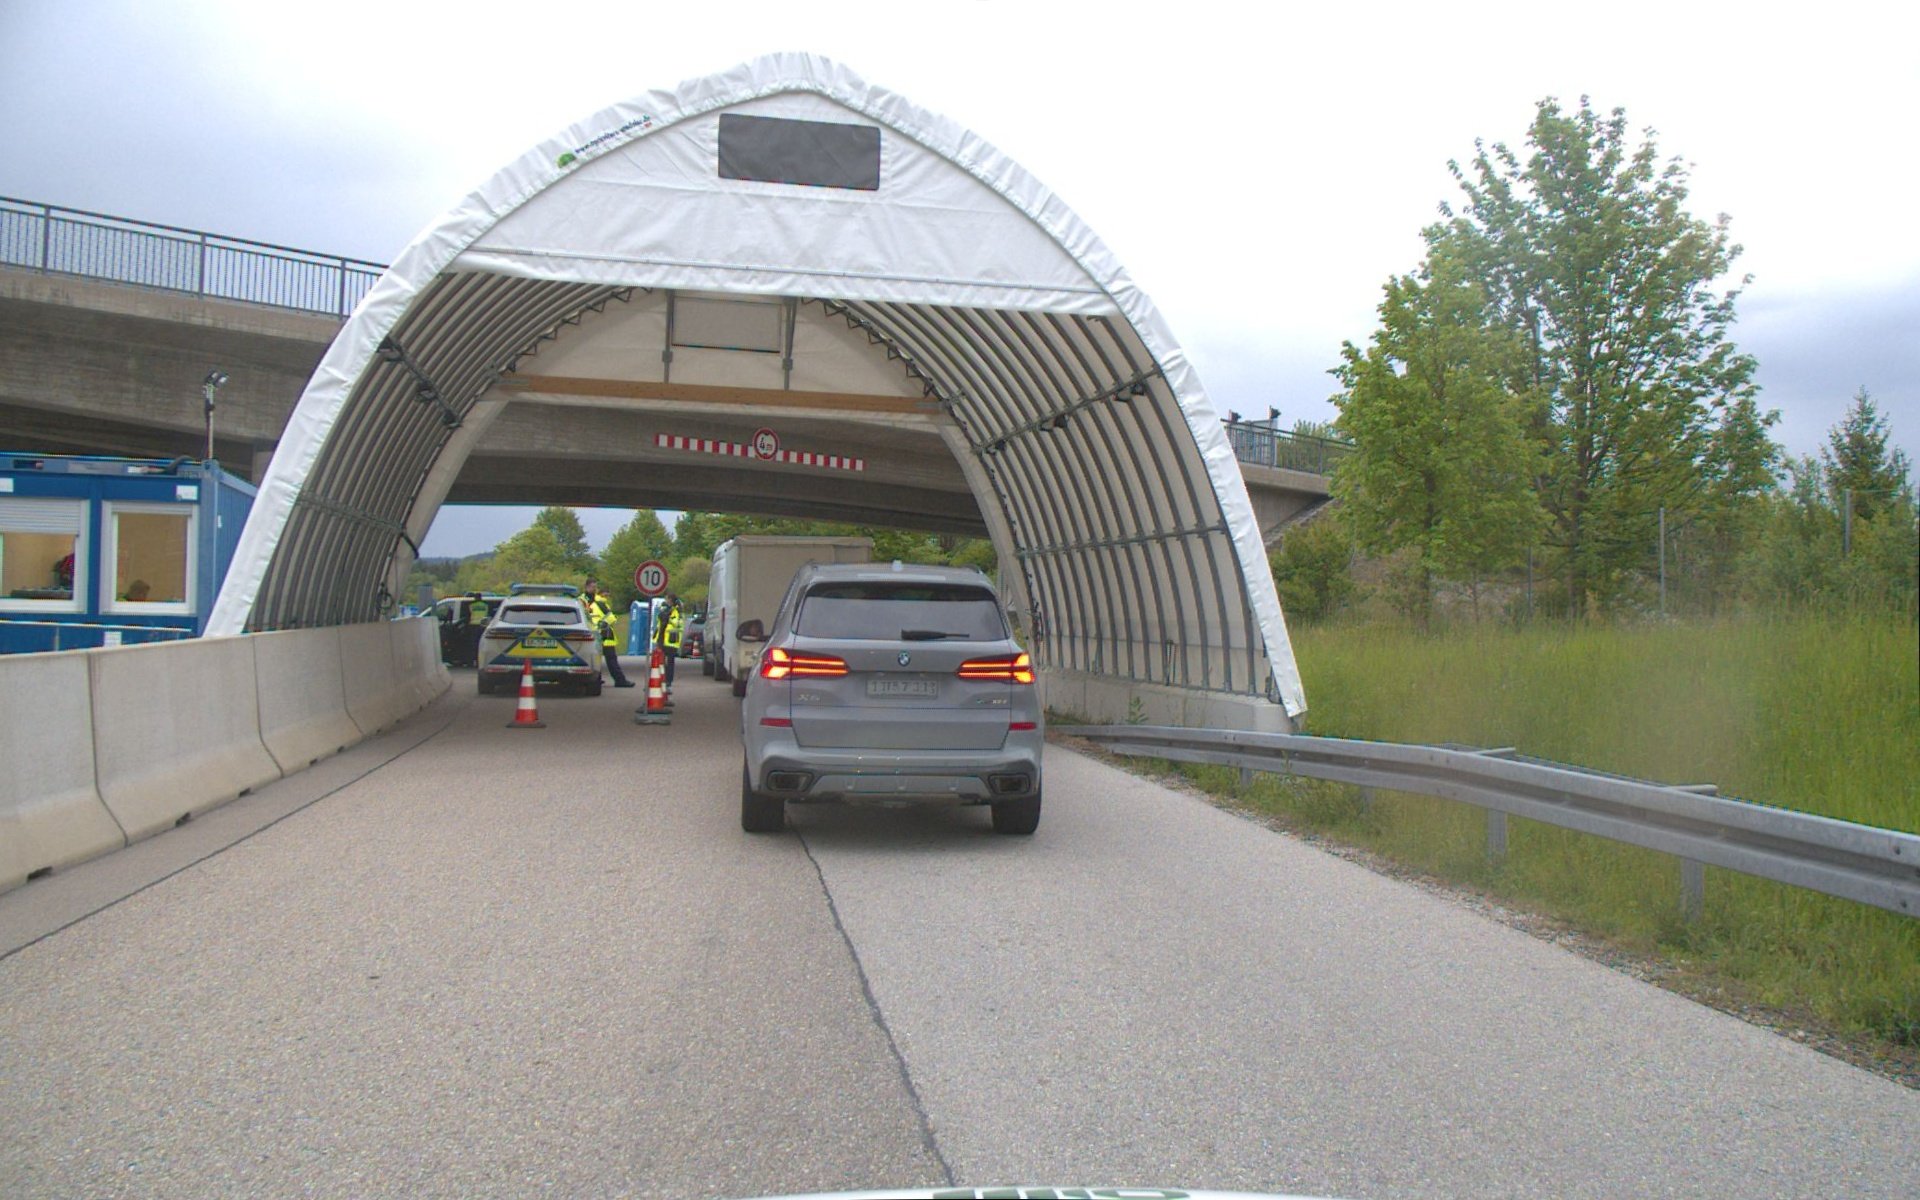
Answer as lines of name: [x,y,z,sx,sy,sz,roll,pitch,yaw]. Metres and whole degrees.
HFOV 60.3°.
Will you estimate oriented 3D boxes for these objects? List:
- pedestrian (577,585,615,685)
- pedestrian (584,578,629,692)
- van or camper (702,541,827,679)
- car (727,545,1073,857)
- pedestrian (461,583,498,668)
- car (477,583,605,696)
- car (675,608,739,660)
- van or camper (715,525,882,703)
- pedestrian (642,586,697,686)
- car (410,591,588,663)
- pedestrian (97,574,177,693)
pedestrian: [-6.560,0.624,29.796,0.597,1.784,0.665,0,-1,-6]
pedestrian: [-6.166,0.596,28.839,0.736,1.952,0.760,0,-1,-15]
van or camper: [-4.094,0.209,33.775,2.067,2.563,5.535,0,0,-12]
car: [-0.609,0.593,11.648,1.957,1.796,3.991,0,0,-9]
pedestrian: [-11.648,0.622,40.144,0.686,2.049,0.692,0,-1,-1]
car: [-6.750,0.594,26.645,1.846,1.675,3.984,0,0,-15]
car: [-8.928,1.164,58.253,1.959,1.752,3.883,0,0,-13]
van or camper: [-2.844,0.224,27.564,2.190,2.597,6.593,0,0,-11]
pedestrian: [-5.170,0.639,29.476,0.763,1.752,0.757,0,-1,9]
car: [-13.547,0.776,48.730,4.703,2.049,1.842,0,-1,7]
pedestrian: [-9.841,0.397,19.796,0.597,1.397,0.628,0,-1,8]
